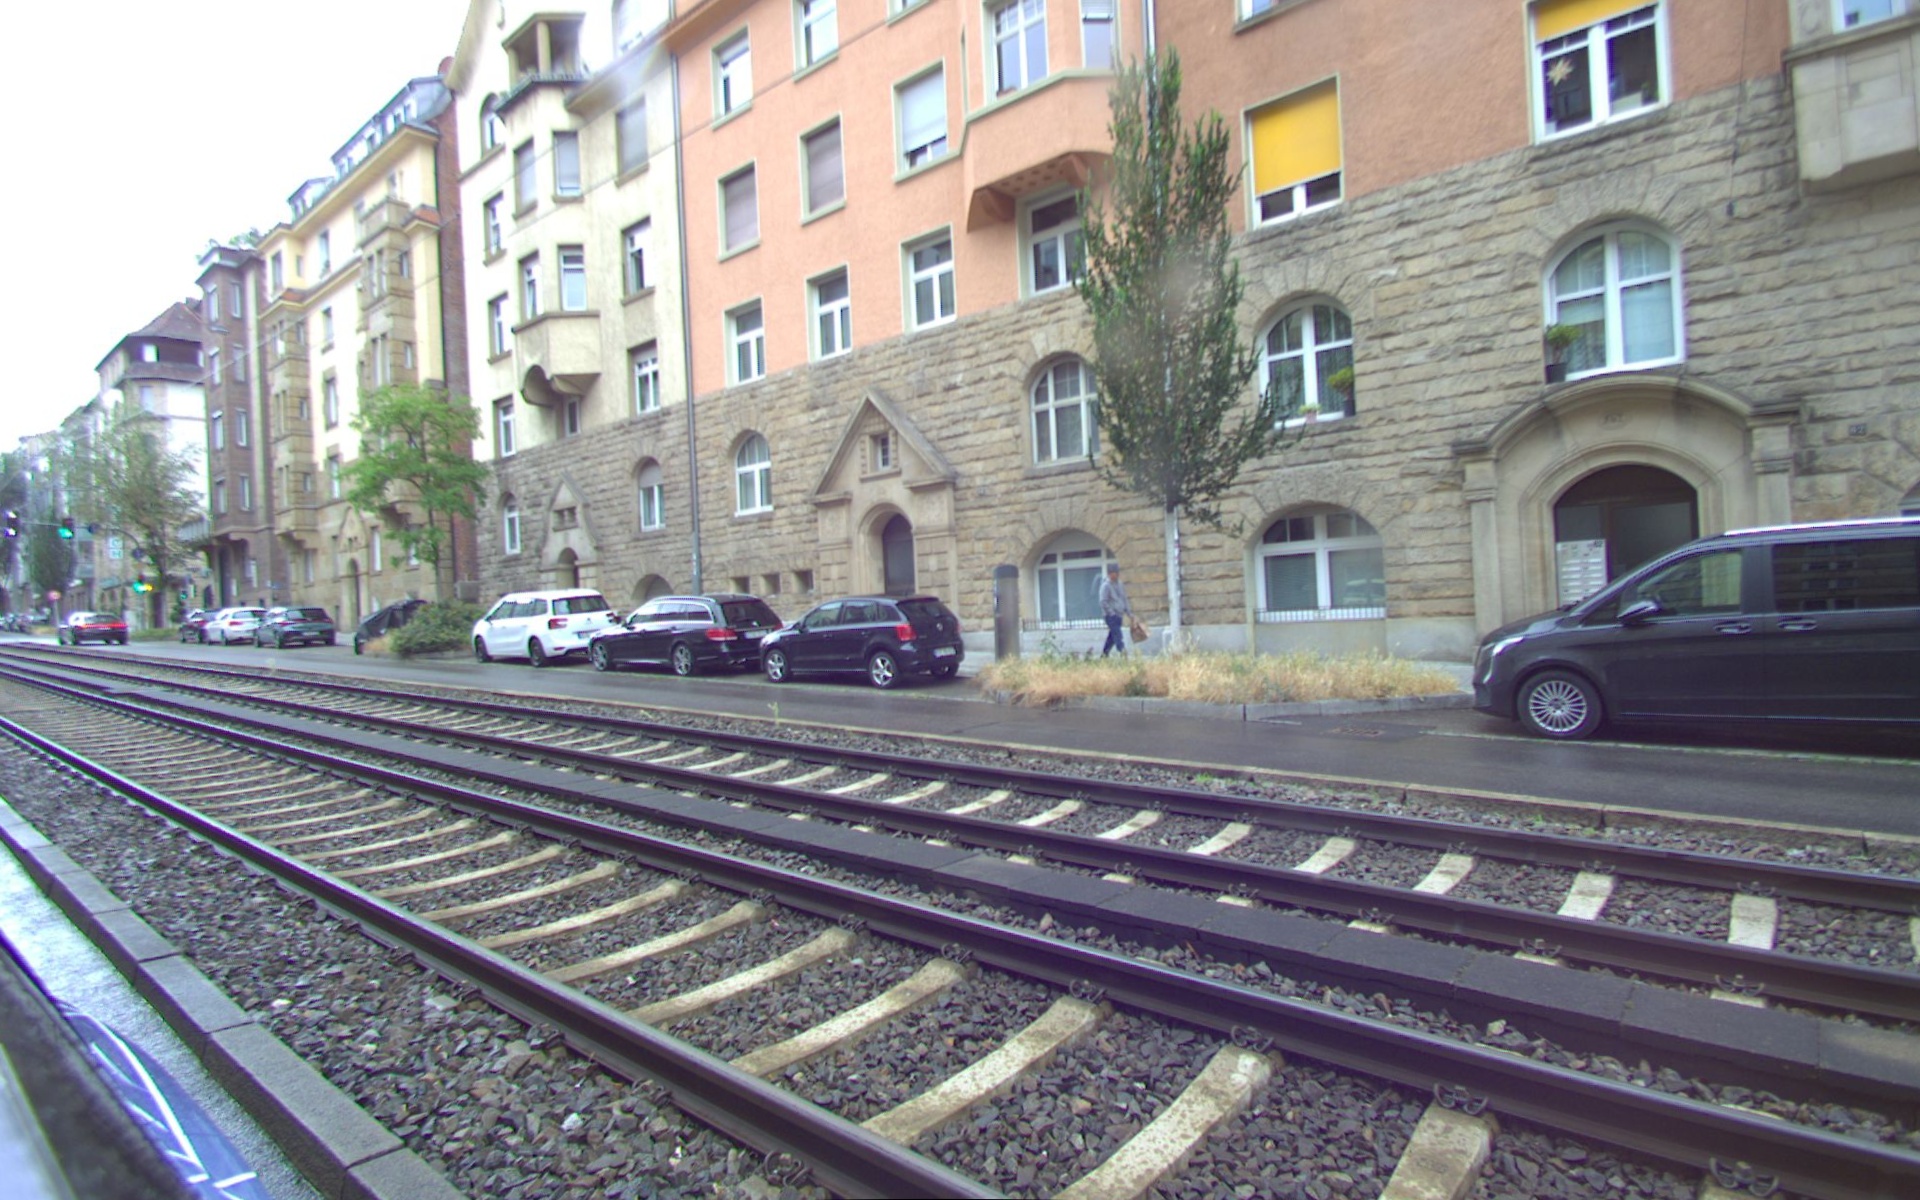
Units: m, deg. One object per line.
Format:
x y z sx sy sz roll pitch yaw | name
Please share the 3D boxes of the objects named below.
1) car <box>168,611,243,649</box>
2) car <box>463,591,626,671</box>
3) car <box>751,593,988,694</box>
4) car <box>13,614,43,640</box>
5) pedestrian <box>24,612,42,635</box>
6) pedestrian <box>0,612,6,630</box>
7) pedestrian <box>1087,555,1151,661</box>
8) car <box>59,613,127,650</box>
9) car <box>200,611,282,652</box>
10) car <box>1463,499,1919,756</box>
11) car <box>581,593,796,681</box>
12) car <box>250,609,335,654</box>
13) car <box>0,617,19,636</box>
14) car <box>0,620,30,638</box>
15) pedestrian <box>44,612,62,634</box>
-32.141 1.260 43.084 3.843 1.452 1.748 -1 0 41 | car
-9.742 0.697 23.610 4.144 1.668 1.843 -1 0 41 | car
-1.553 0.664 16.916 3.638 1.508 1.912 -1 0 38 | car
-69.040 1.986 74.971 1.561 1.691 3.794 -2 2 -43 | car
-82.115 2.072 89.631 1.163 1.972 1.042 -1 0 43 | pedestrian
-103.662 2.268 108.832 1.379 1.972 1.362 -1 0 43 | pedestrian
2.568 0.128 16.329 0.765 1.654 0.692 -1 0 41 | pedestrian
-38.807 1.397 45.279 4.965 1.535 1.783 -1 0 43 | car
-28.283 1.206 39.761 4.030 1.452 1.748 -1 1 42 | car
7.350 0.210 8.982 4.823 1.956 1.973 -1 0 41 | car
-5.434 0.692 19.937 4.599 1.506 1.824 -1 0 41 | car
-23.681 1.090 35.859 3.845 1.452 1.656 -1 1 43 | car
-80.917 2.283 85.409 3.843 1.527 1.748 -1 0 41 | car
-74.289 2.275 79.335 3.843 1.321 1.563 -1 0 41 | car
-81.256 2.060 90.636 1.163 1.972 1.042 -1 0 43 | pedestrian
